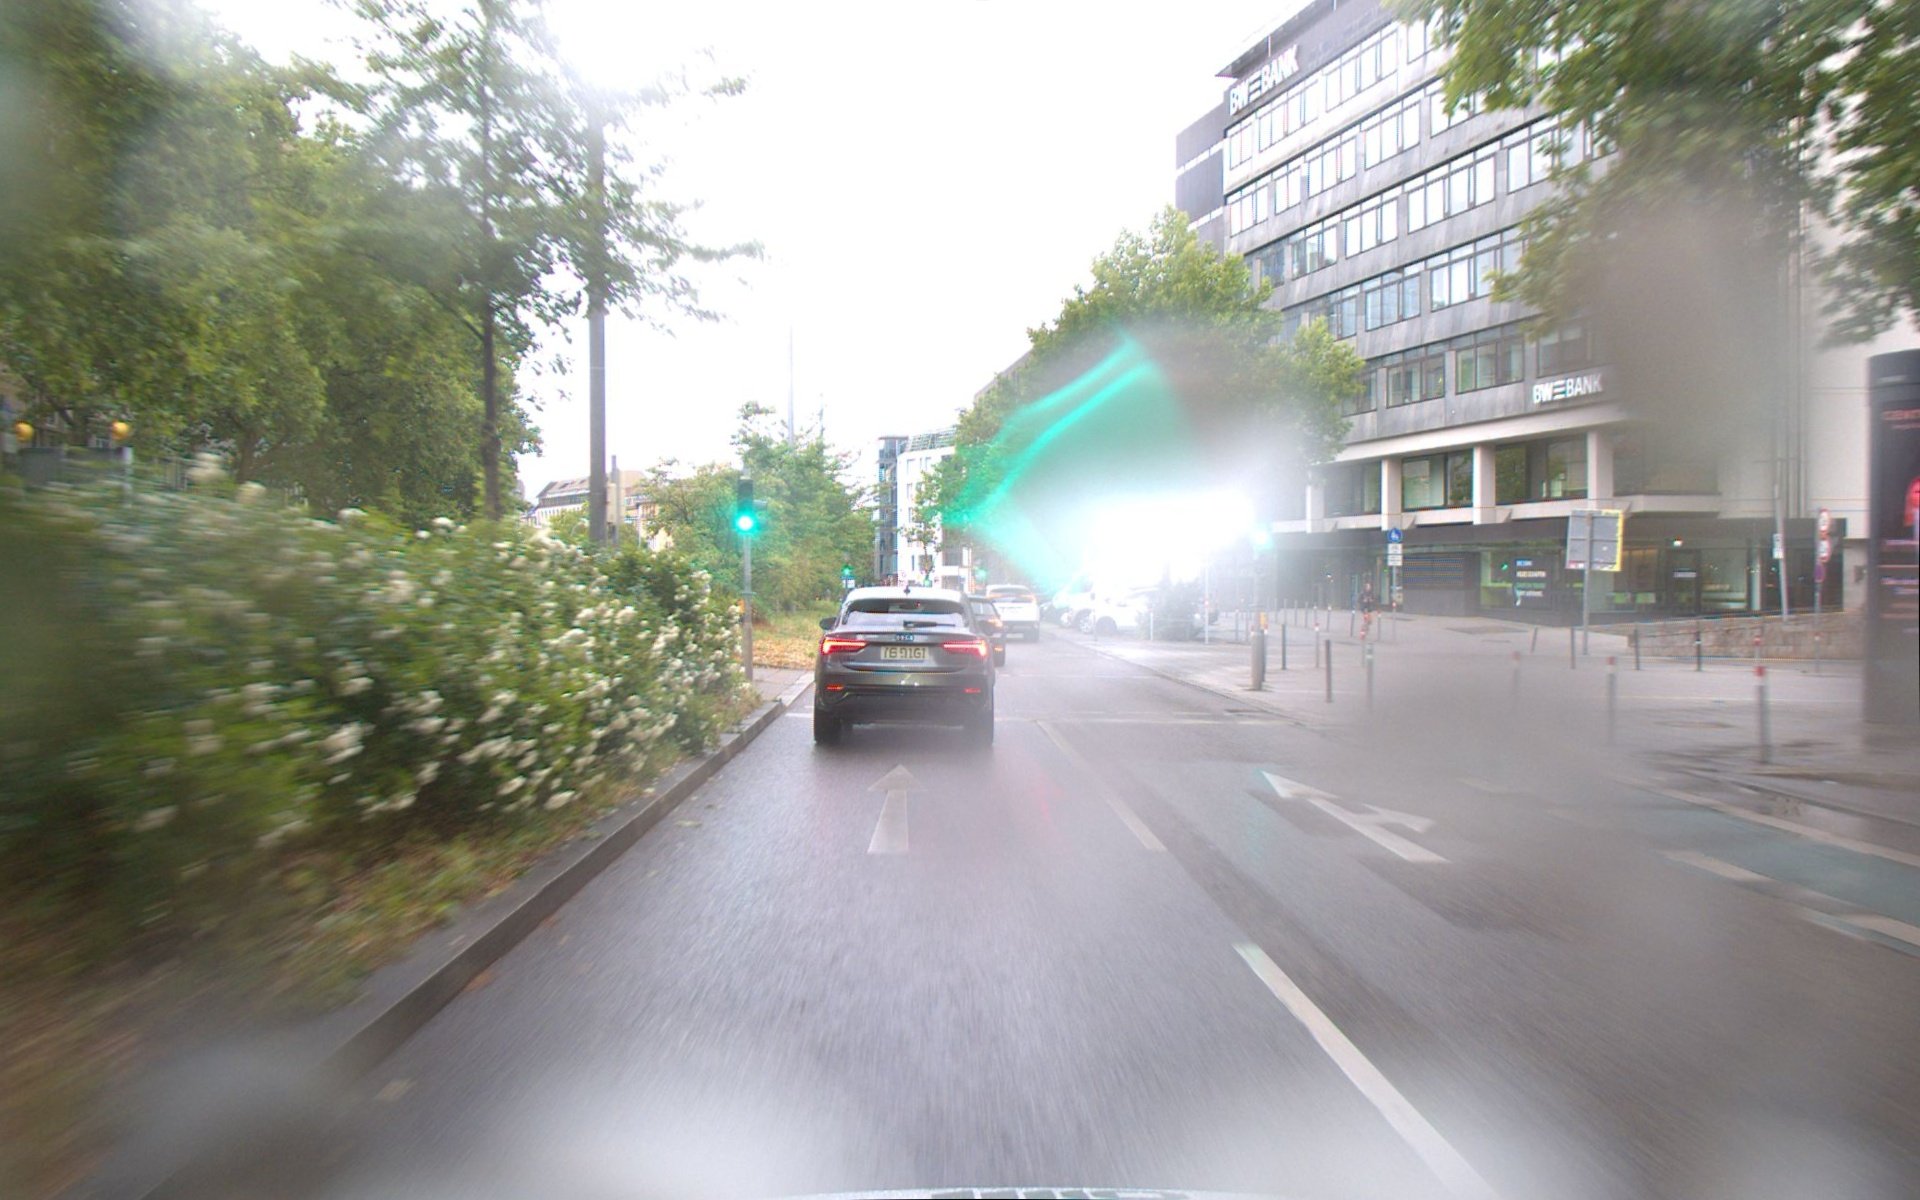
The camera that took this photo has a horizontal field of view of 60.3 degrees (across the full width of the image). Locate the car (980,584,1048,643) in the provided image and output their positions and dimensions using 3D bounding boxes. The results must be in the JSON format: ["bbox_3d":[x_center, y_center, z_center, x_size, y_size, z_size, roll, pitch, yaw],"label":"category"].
[{"bbox_3d":[1.584,0.396,50.014,1.812,1.698,4.037,1,0,-1],"label":"car"}]

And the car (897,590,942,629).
[{"bbox_3d":[-1.671,0.360,68.427,1.812,1.550,4.037,1,0,-1],"label":"car"}]

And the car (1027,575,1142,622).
[{"bbox_3d":[5.617,-0.073,74.686,4.838,2.013,1.929,-1,0,24],"label":"car"}]

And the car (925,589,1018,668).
[{"bbox_3d":[0.185,0.556,34.881,1.812,1.550,4.037,1,0,-1],"label":"car"}]

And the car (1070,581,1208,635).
[{"bbox_3d":[5.898,0.259,54.514,4.171,1.696,1.817,1,0,25],"label":"car"}]

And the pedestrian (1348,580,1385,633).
[{"bbox_3d":[13.269,0.210,54.011,0.789,1.726,1.186,1,0,-5],"label":"pedestrian"}]

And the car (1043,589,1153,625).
[{"bbox_3d":[5.746,0.278,68.889,4.277,1.461,1.761,0,0,25],"label":"car"}]

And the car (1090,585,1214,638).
[{"bbox_3d":[6.029,0.358,51.842,3.572,1.574,1.716,1,0,18],"label":"car"}]

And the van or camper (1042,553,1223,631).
[{"bbox_3d":[6.016,-0.270,57.810,5.946,2.603,2.103,0,0,26],"label":"van or camper"}]

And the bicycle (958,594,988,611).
[{"bbox_3d":[1.052,0.214,134.164,2.294,1.335,0.708,0,0,-9],"label":"bicycle"}]

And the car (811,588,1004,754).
[{"bbox_3d":[-0.566,0.672,17.687,1.812,1.550,4.037,1,0,-2],"label":"car"}]

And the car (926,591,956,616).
[{"bbox_3d":[-1.216,0.201,105.008,1.812,1.550,4.037,1,0,-1],"label":"car"}]
